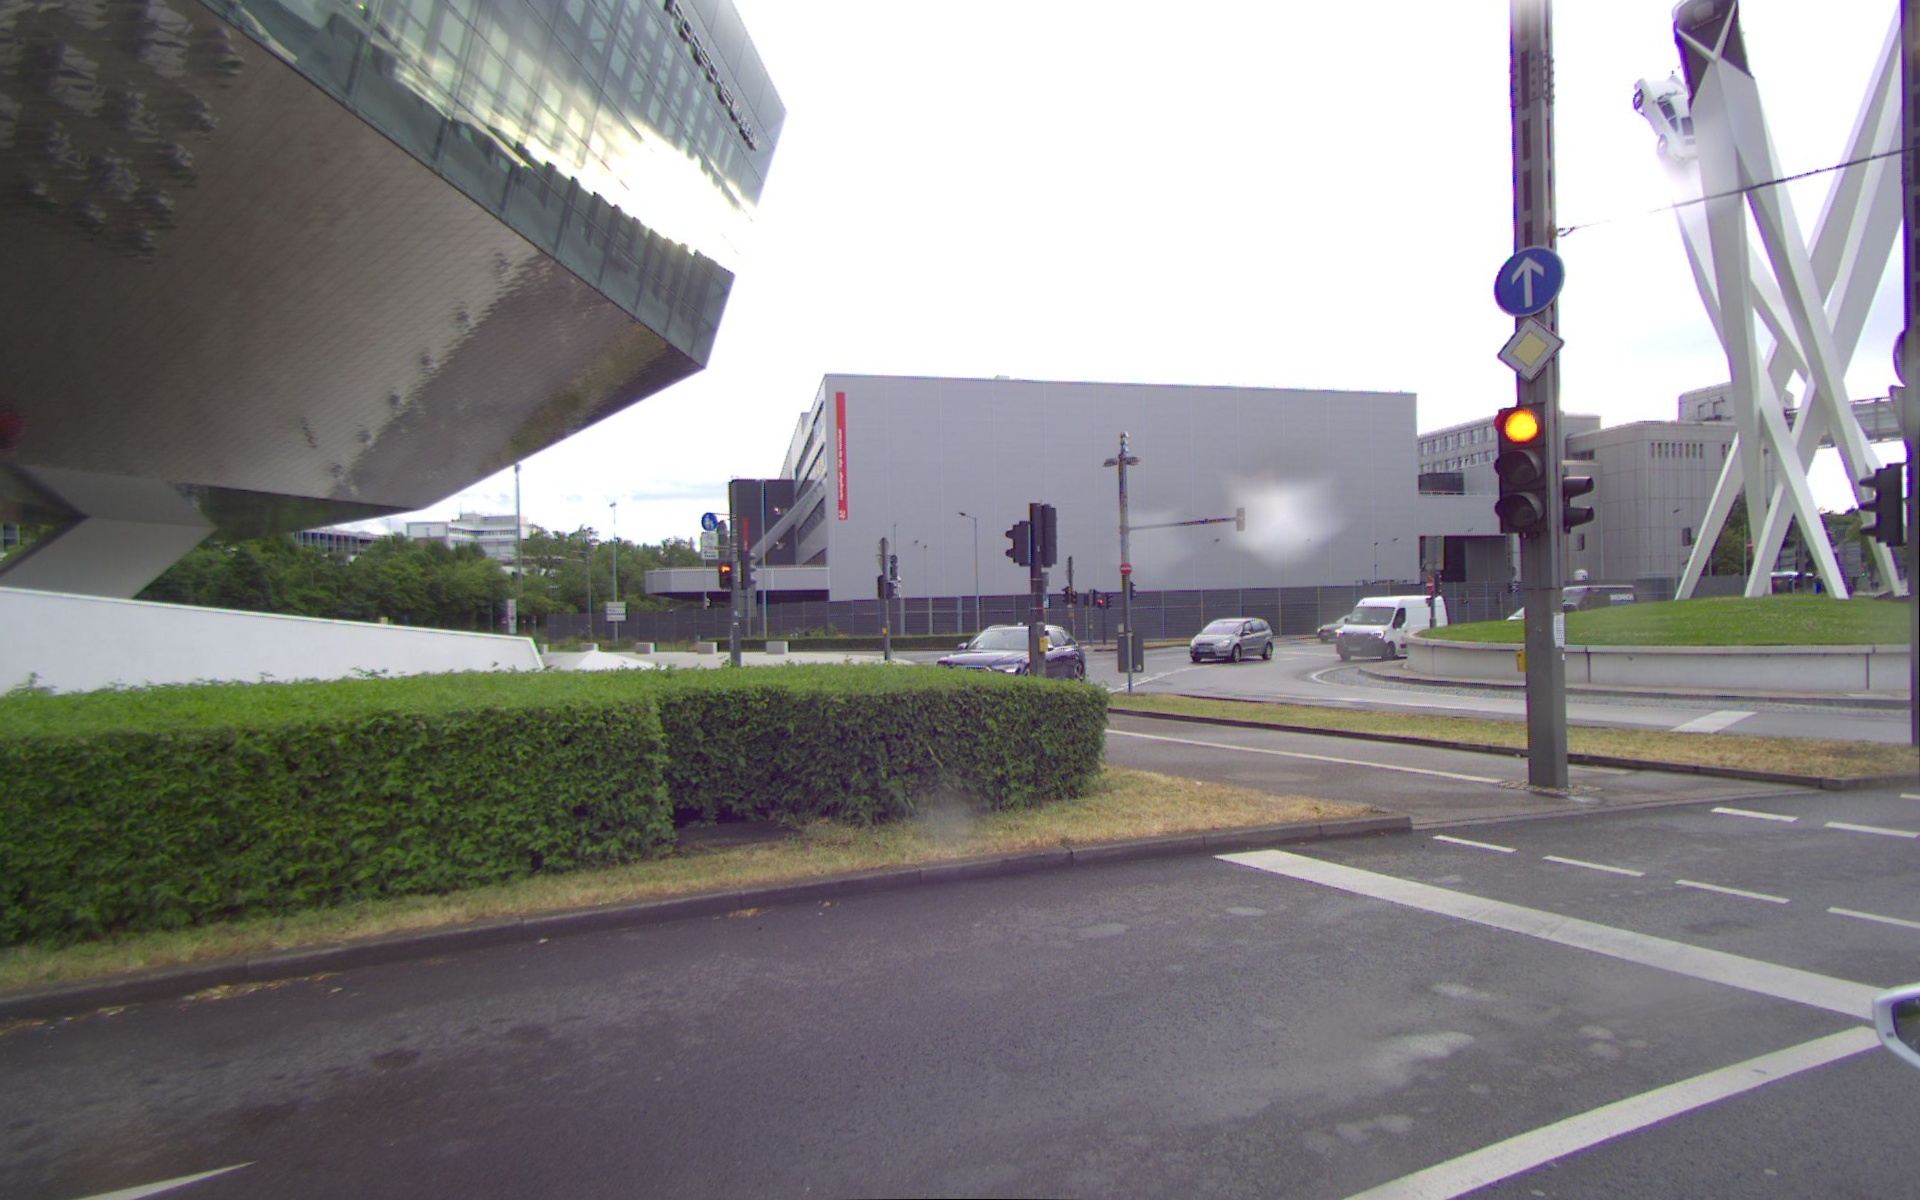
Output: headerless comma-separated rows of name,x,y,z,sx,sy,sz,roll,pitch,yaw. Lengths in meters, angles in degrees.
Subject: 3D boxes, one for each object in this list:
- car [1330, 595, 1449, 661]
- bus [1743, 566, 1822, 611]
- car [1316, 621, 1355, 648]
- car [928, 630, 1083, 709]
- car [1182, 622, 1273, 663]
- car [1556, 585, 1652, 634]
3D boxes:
car,17.093,1.088,39.840,5.377,2.479,1.979,1,-1,-38
bus,65.455,-0.806,79.766,12.565,3.243,2.647,1,-1,-40
car,19.805,1.778,53.084,1.803,1.356,4.248,0,-1,18
car,1.023,1.309,20.105,1.816,1.356,3.998,0,-1,23
car,10.377,1.597,38.779,1.813,1.514,3.978,-1,-1,42
car,39.484,0.591,61.539,7.043,2.858,1.957,1,-1,-30
